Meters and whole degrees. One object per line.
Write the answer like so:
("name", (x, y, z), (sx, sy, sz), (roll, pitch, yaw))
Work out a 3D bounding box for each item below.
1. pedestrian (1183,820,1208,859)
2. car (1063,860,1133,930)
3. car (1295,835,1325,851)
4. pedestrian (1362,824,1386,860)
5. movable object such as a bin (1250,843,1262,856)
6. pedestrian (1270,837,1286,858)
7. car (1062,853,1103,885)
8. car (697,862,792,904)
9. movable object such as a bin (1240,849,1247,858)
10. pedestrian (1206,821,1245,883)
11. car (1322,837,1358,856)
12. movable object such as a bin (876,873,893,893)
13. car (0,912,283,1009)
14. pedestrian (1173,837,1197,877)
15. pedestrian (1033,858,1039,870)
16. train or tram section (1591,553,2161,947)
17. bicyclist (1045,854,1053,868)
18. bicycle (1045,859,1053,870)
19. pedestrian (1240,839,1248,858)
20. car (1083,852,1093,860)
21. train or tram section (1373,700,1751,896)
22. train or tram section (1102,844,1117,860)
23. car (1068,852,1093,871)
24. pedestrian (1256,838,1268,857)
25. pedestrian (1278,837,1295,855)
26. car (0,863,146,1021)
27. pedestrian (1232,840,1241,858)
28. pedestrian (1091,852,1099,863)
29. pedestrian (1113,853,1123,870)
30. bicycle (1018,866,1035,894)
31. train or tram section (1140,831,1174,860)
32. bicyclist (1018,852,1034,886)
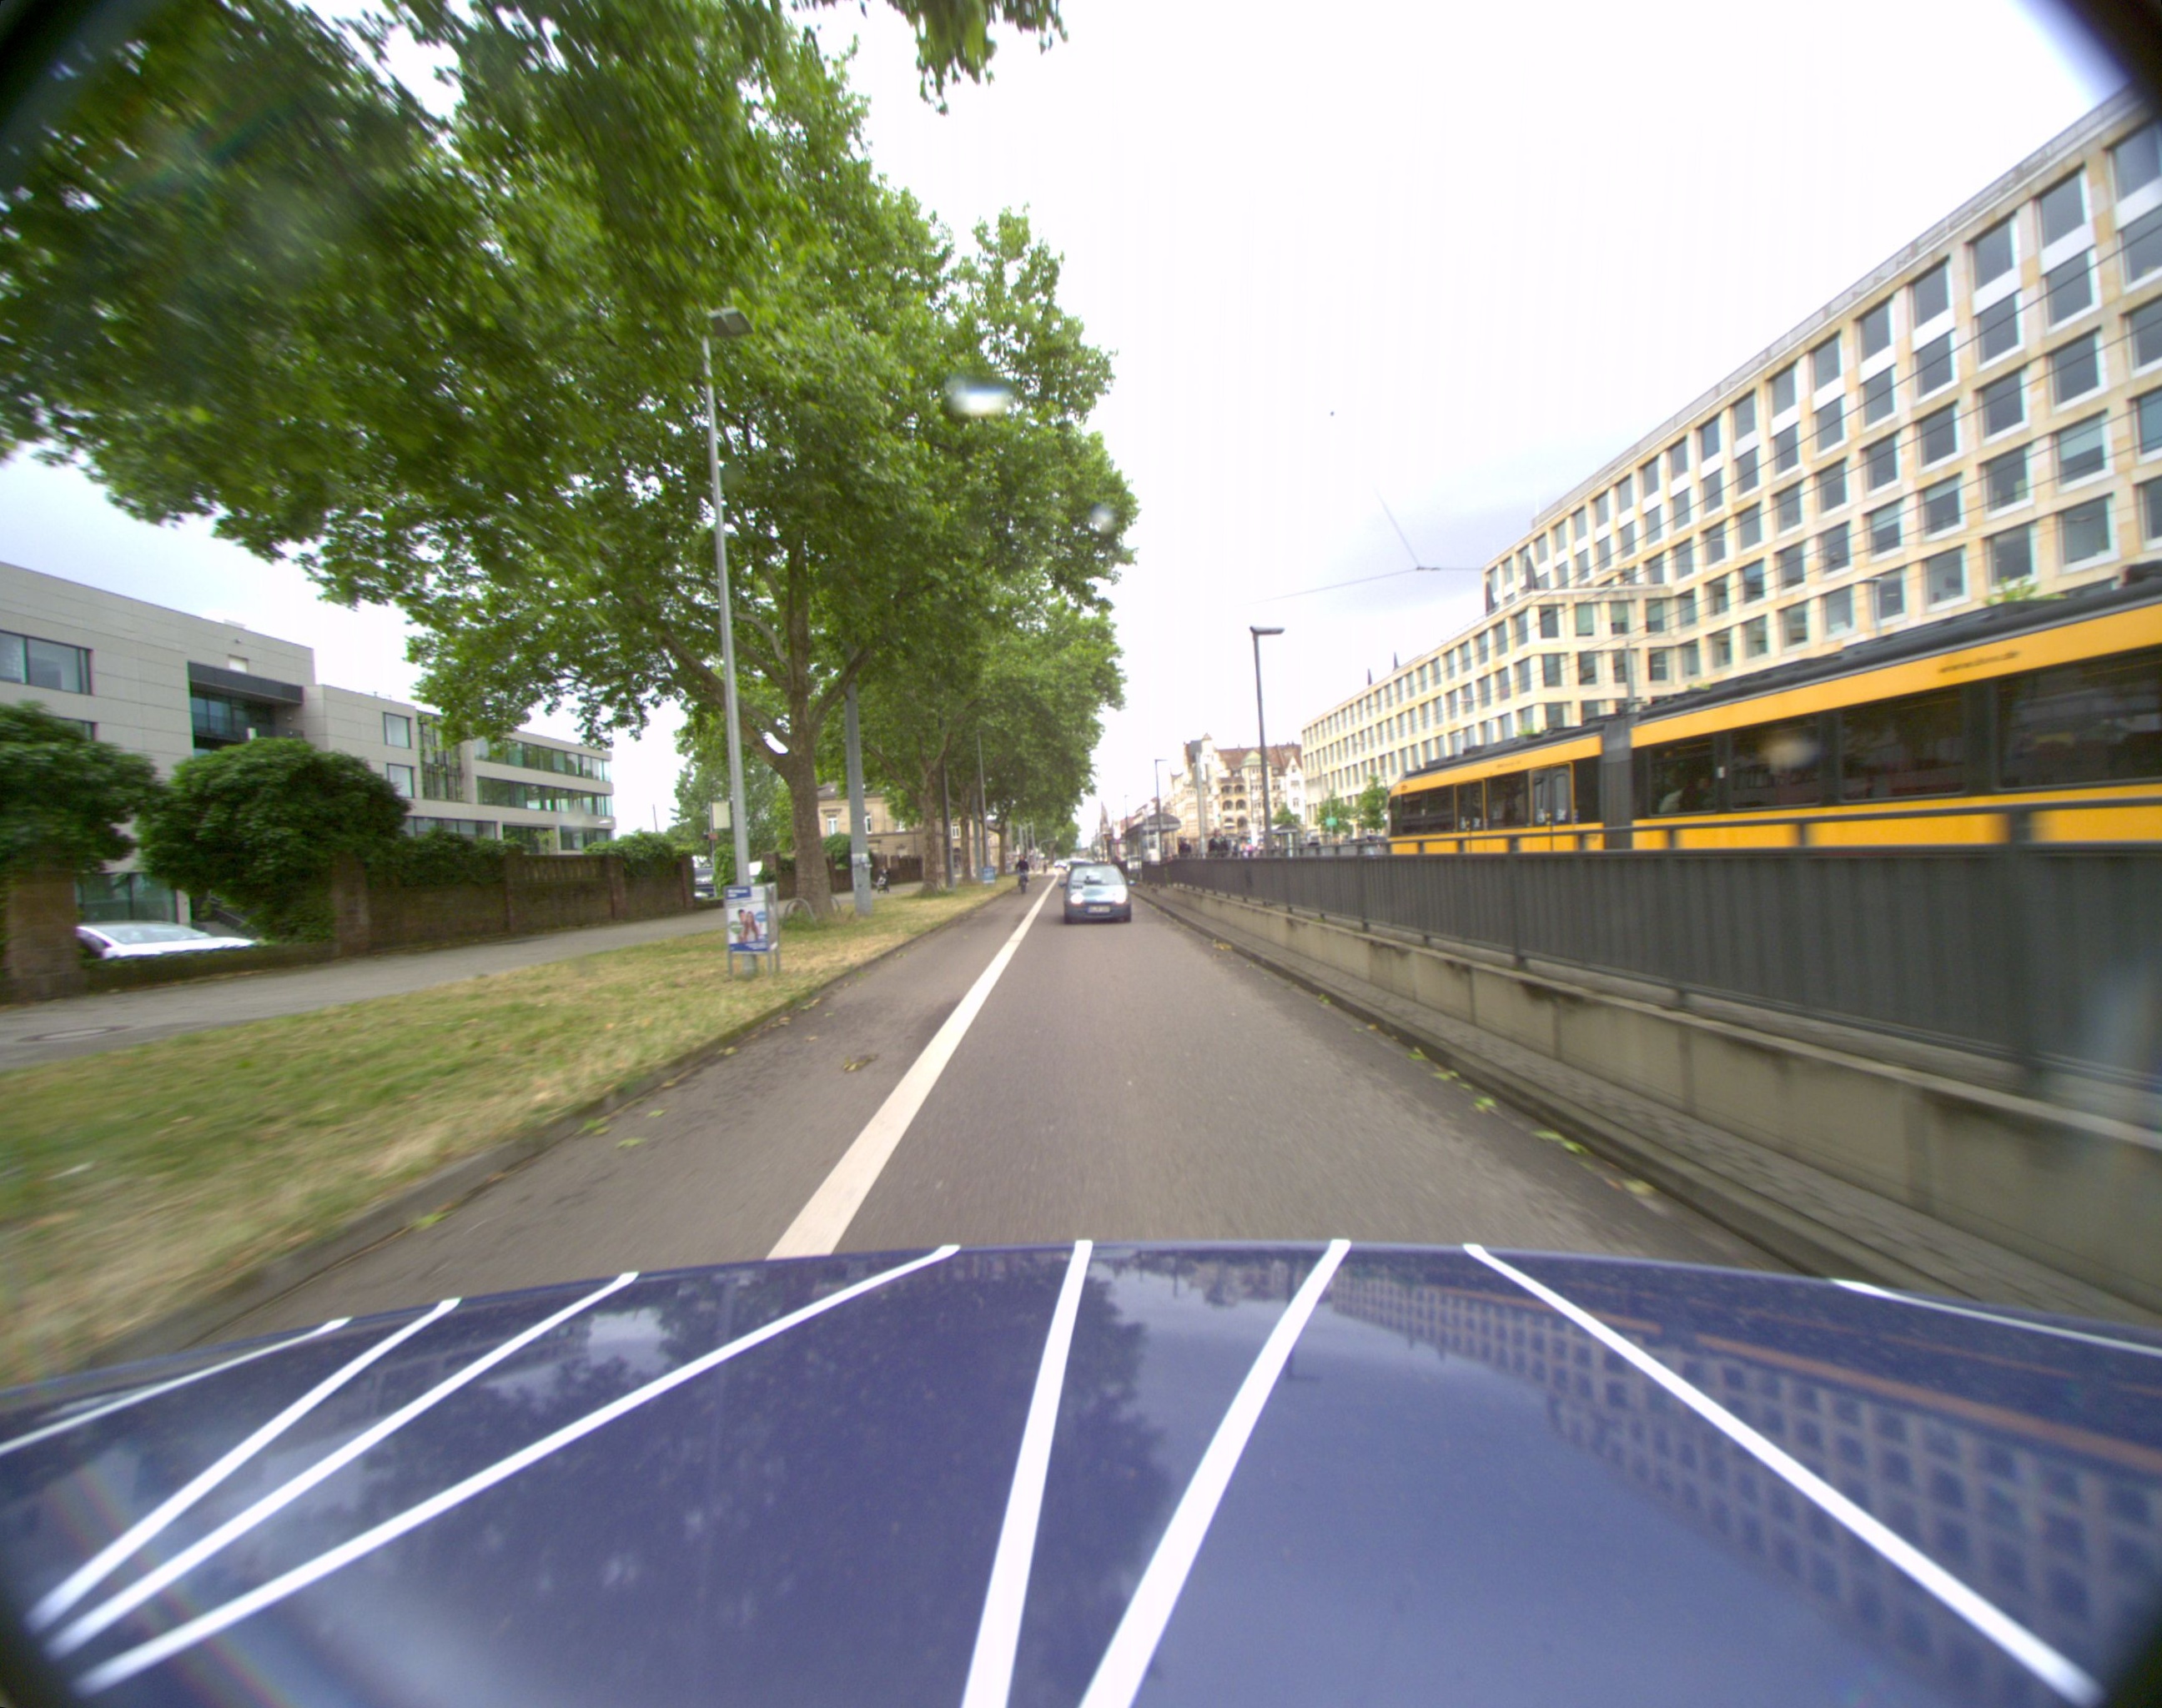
("pedestrian", (5.433, -0.672, 36.079), (0.672, 1.783, 1.112), (-4, 1, -14))
("car", (0.415, 0.955, 19.130), (1.534, 1.464, 3.353), (-2, 1, 1))
("car", (25.085, -1.192, 83.361), (1.998, 1.652, 4.000), (-3, 1, 1))
("pedestrian", (15.340, -0.630, 39.804), (0.713, 1.785, 1.160), (-3, 1, -2))
("movable object such as a bin", (15.312, -0.388, 66.436), (0.622, 1.015, 0.721), (-4, 1, -34))
("pedestrian", (16.468, -0.540, 63.630), (1.040, 1.676, 0.939), (-3, 1, 2))
("car", (0.076, 0.759, 40.783), (1.999, 1.443, 4.099), (-3, 1, 0))
("car", (-18.999, 1.602, 43.053), (4.359, 2.002, 1.999), (-3, 1, -3))
("movable object such as a bin", (14.601, -0.028, 68.223), (0.536, 0.743, 0.469), (-3, 1, 6))
("pedestrian", (4.862, -0.068, 25.617), (1.061, 2.002, 0.840), (-3, 1, 0))
("car", (24.123, -0.719, 70.879), (1.998, 1.652, 4.000), (-3, 1, 1))
("movable object such as a bin", (-11.508, 1.670, 44.501), (0.613, 1.105, 1.015), (-3, 0, 5))
("car", (-19.860, 2.170, 15.323), (5.109, 1.403, 2.003), (-5, 1, -3))
("pedestrian", (4.786, 0.124, 34.985), (0.672, 1.783, 1.112), (-4, 1, -9))
("pedestrian", (-5.982, 1.272, 100.807), (0.552, 1.520, 0.639), (-3, 1, 17))
("train or tram section", (12.137, -1.120, 9.909), (3.171, 3.839, 11.309), (-3, 1, 0))
("bicyclist", (-3.759, 0.832, 88.655), (0.812, 1.591, 1.189), (-3, 1, -2))
("bicycle", (-3.723, 1.187, 88.552), (0.815, 1.163, 2.276), (-3, 1, -2))
("pedestrian", (14.525, -0.478, 67.698), (0.536, 1.598, 0.565), (-3, 1, 6))
("car", (1.506, 0.406, 166.276), (1.869, 1.630, 3.774), (-3, 1, -2))
("train or tram section", (12.080, -1.205, 21.294), (3.246, 3.839, 11.309), (-3, 1, 0))
("train or tram section", (6.741, -0.588, 182.183), (2.652, 3.417, 13.616), (-3, 1, -1))
("car", (-0.065, 0.611, 65.345), (1.999, 1.443, 4.099), (-3, 1, 0))
("pedestrian", (15.883, -0.560, 66.680), (0.580, 1.598, 0.655), (-4, 1, -34))
("pedestrian", (16.704, -0.635, 61.825), (1.040, 1.364, 0.939), (-3, 1, 2))
("car", (-19.477, 1.618, 12.452), (5.246, 2.407, 2.074), (-5, 1, -3))
("pedestrian", (15.415, -0.496, 75.230), (0.589, 1.759, 0.596), (-4, 2, -37))
("pedestrian", (2.103, 0.520, 111.596), (0.862, 1.633, 0.651), (-4, 2, -42))
("pedestrian", (2.922, 0.585, 60.117), (0.612, 1.364, 0.600), (-3, 1, 0))
("bicycle", (-2.542, 1.192, 35.538), (0.654, 1.143, 2.282), (-3, 1, -2))
("train or tram section", (10.675, -1.184, 108.048), (2.862, 3.671, 13.517), (-3, 1, -1))
("bicyclist", (-2.575, 0.705, 35.470), (0.642, 1.522, 0.664), (-3, 1, -2))
